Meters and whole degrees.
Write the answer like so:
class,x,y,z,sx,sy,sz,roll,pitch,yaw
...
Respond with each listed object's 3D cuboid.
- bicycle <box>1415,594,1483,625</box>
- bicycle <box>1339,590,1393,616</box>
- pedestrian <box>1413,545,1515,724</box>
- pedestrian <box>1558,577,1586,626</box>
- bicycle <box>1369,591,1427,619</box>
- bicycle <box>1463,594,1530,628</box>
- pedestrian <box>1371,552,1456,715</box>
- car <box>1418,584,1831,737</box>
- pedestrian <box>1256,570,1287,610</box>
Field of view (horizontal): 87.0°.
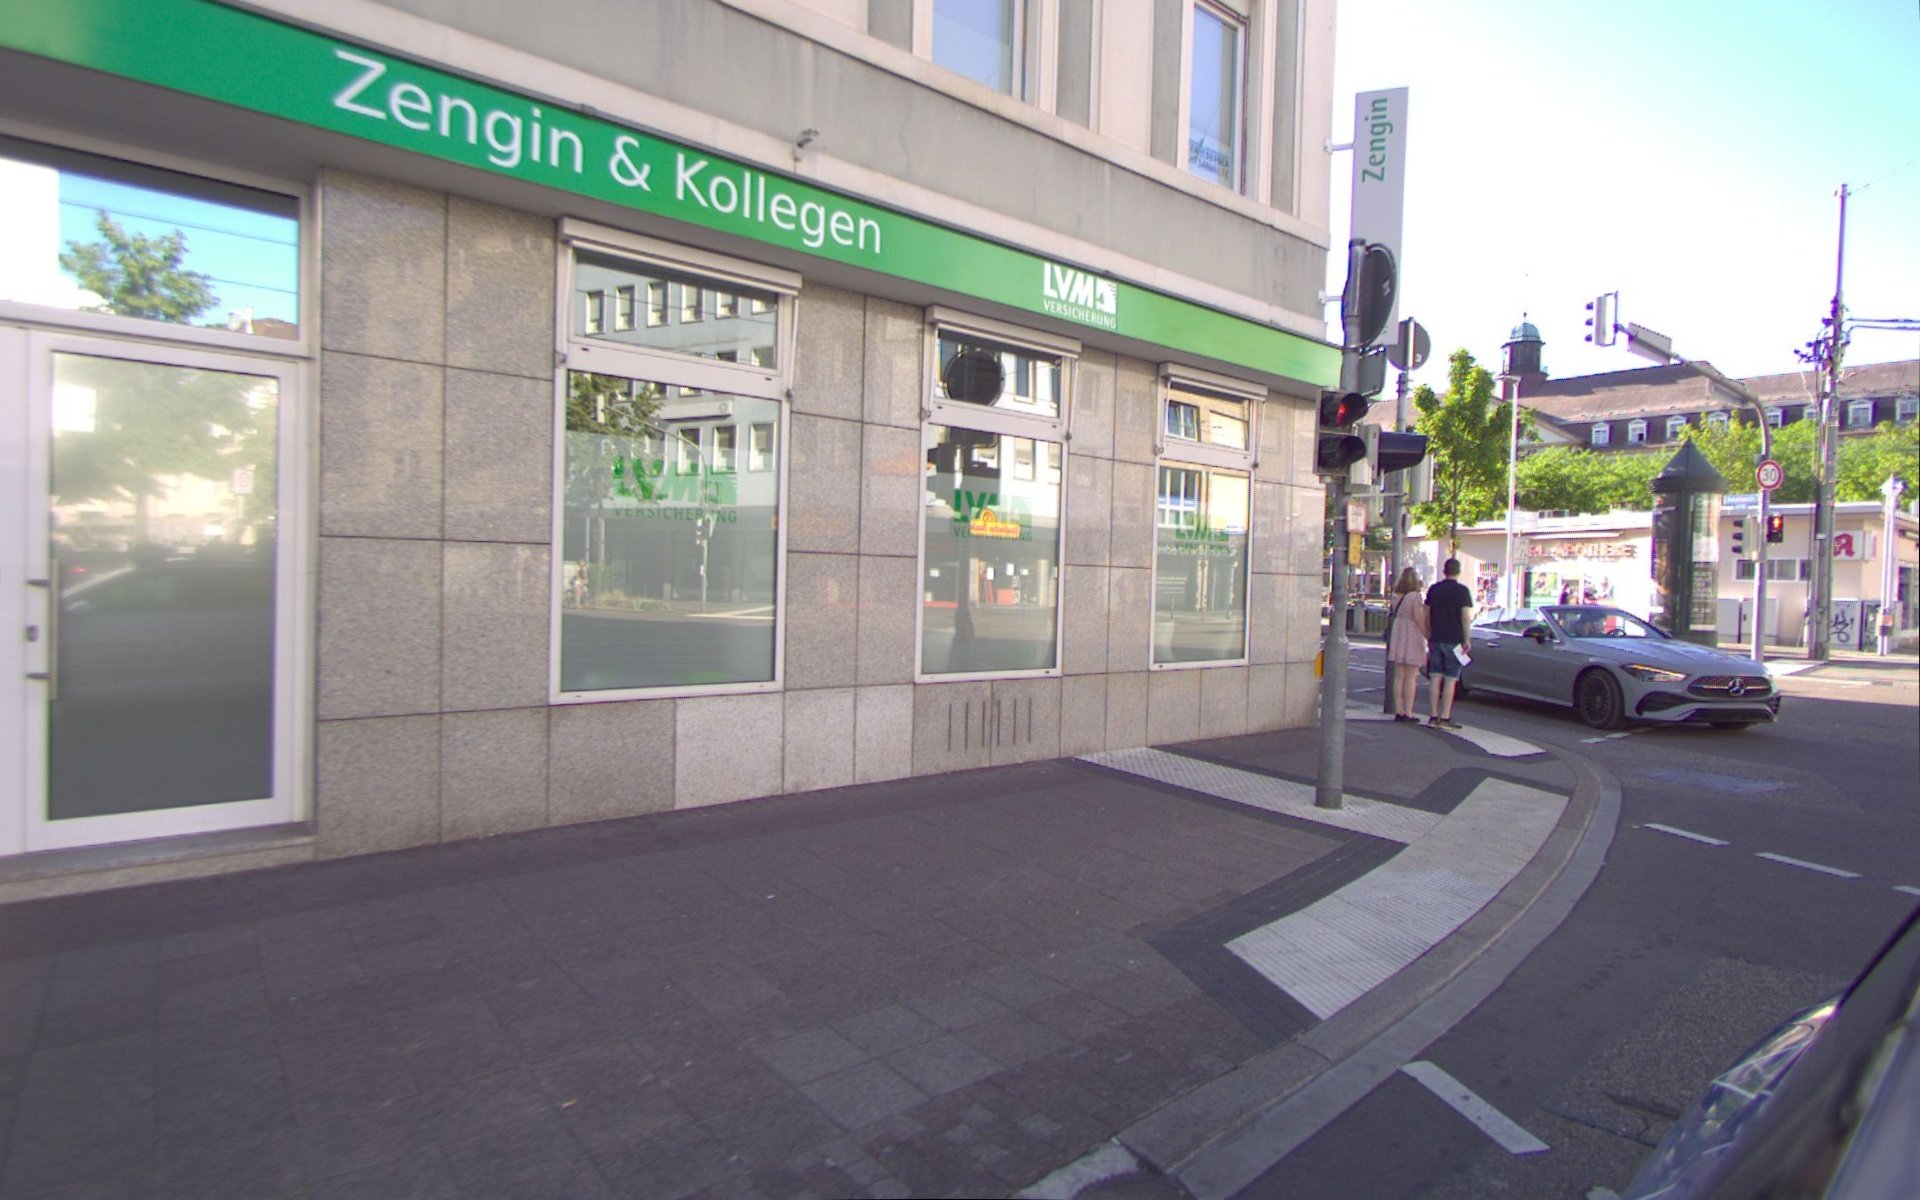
class,x,y,z,sx,sy,sz,roll,pitch,yaw
bicycle,17.562,0.334,36.357,1.981,1.015,0.888,1,1,0
bicycle,16.403,0.107,40.922,1.853,1.015,0.766,1,1,-6
pedestrian,5.439,0.360,10.945,0.628,1.865,0.683,1,1,-15
pedestrian,21.796,0.046,36.043,0.510,1.730,0.613,2,1,-15
bicycle,16.581,0.195,38.313,1.853,1.015,0.766,1,1,-6
bicycle,18.096,0.384,34.120,1.953,1.101,0.755,1,1,-13
pedestrian,5.109,0.360,11.424,0.562,1.781,0.651,1,1,-15
car,7.951,0.585,12.741,1.872,1.480,4.372,-1,2,-9
pedestrian,13.669,-0.443,44.427,0.884,1.719,1.088,1,1,-11
